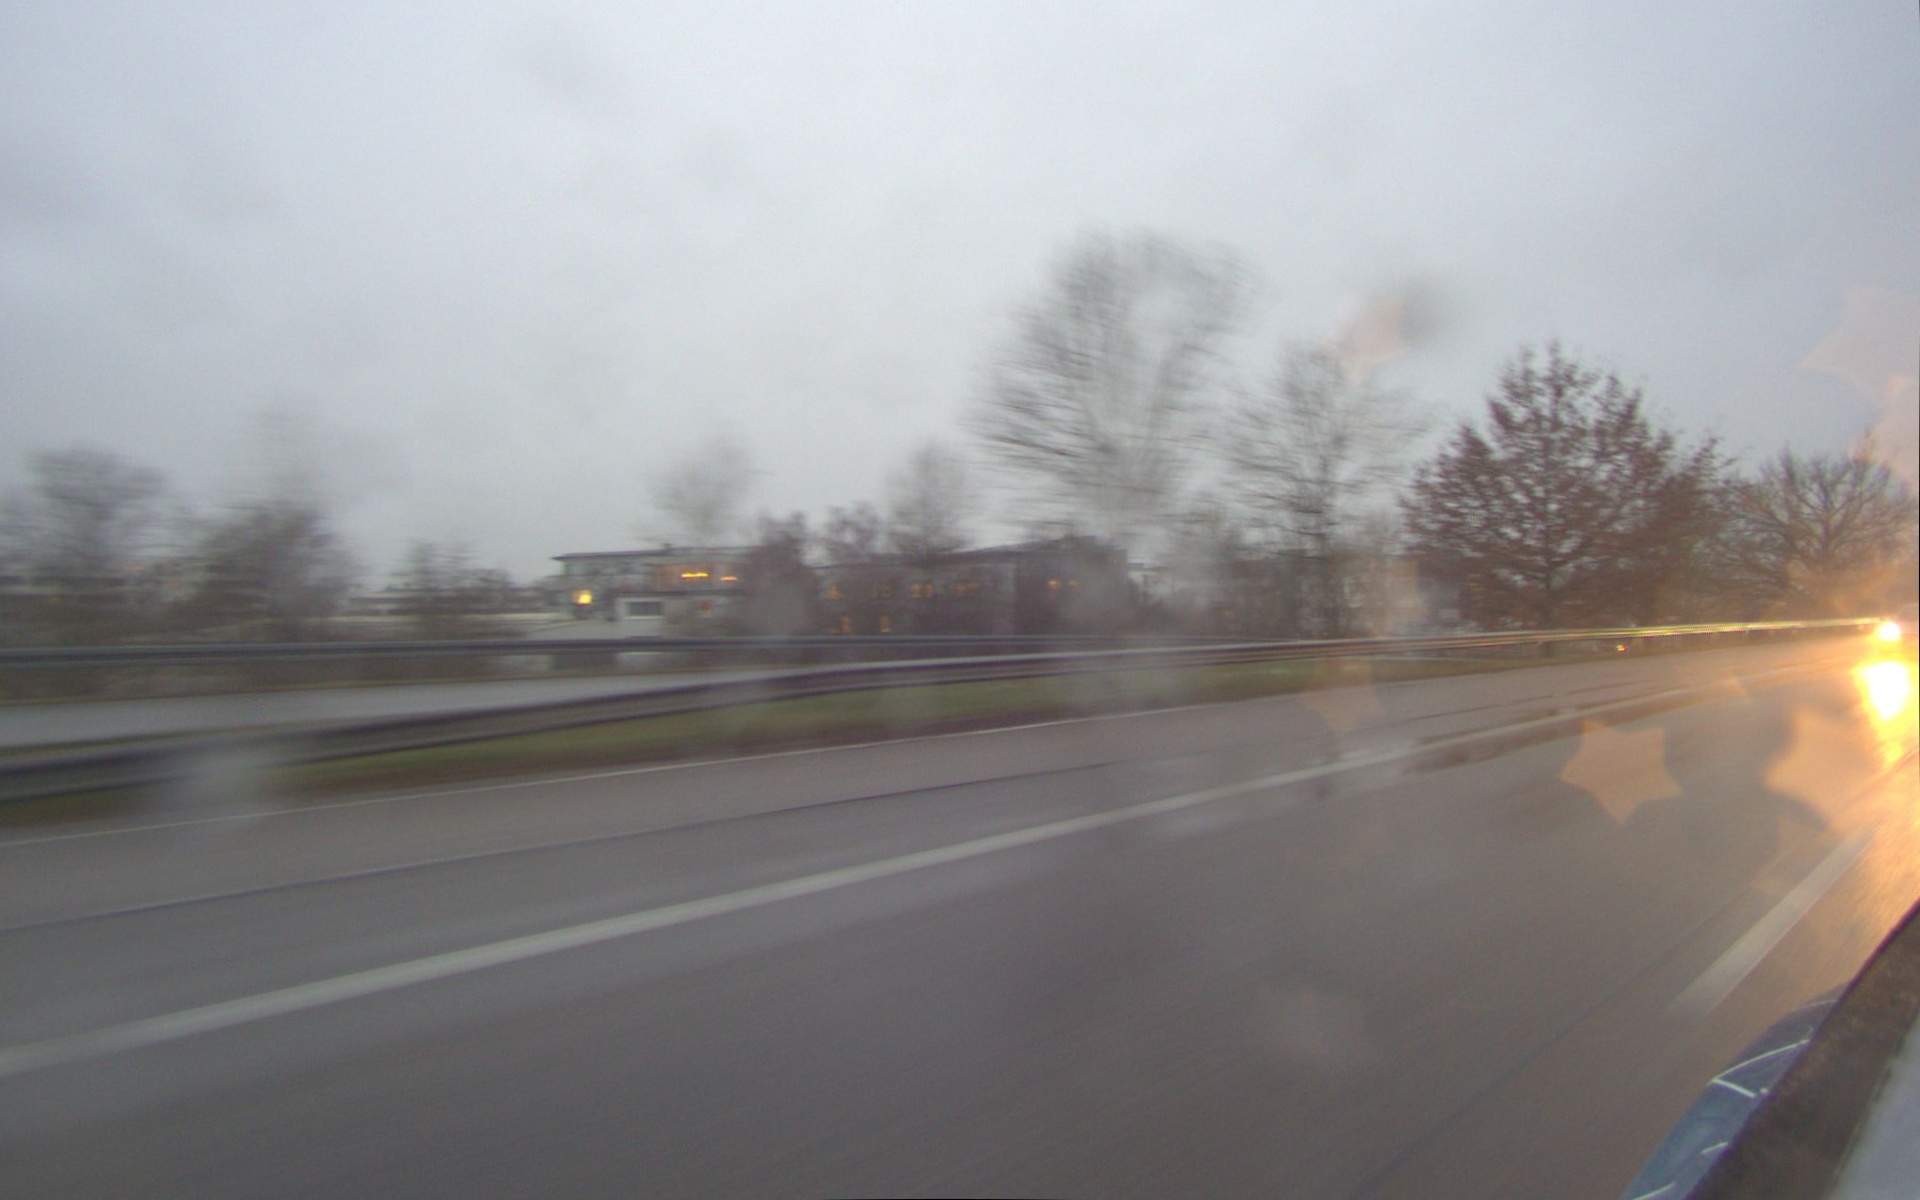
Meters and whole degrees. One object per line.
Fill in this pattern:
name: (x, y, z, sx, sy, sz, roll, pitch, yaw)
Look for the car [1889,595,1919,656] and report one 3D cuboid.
car: (26.432, 0.670, 26.991, 4.073, 1.549, 1.850, 0, 0, -39)
